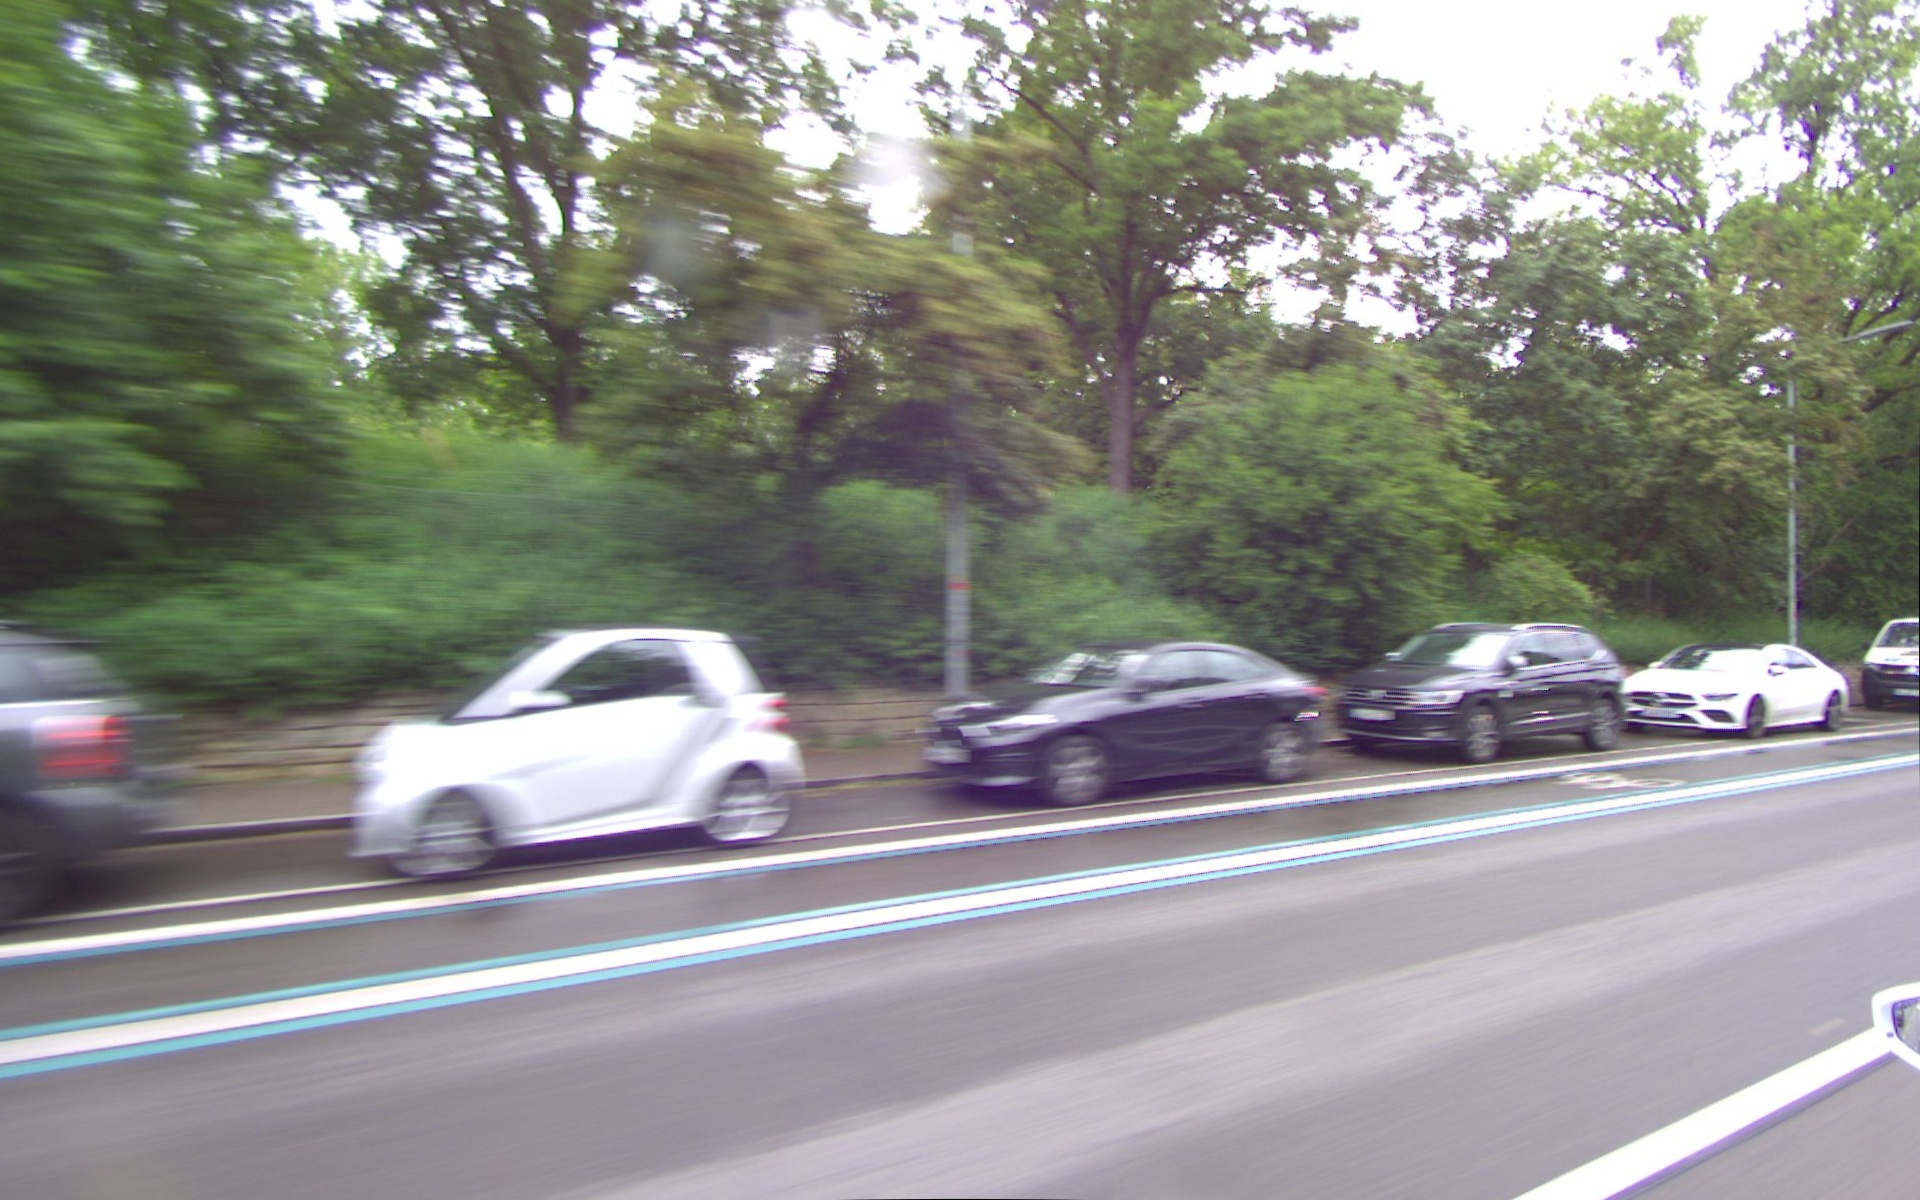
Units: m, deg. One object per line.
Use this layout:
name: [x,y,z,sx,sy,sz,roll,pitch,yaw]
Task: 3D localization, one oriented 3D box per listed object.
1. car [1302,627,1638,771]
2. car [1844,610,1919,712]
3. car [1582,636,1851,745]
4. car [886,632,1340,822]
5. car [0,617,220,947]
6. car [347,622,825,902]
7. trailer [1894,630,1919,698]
car: [6.756,1.171,13.206,4.416,1.582,1.870,1,-1,-30]
car: [21.192,1.272,21.759,4.689,2.040,1.928,1,-1,-33]
car: [12.404,1.373,16.422,4.416,1.508,1.984,1,-1,-30]
car: [1.628,1.100,10.118,4.417,1.508,1.799,1,-1,-31]
car: [-6.361,0.883,4.980,4.087,1.605,1.689,1,-1,-28]
car: [-2.614,0.961,7.151,2.950,1.592,1.453,1,-1,-32]
trailer: [25.312,1.571,24.445,3.599,1.650,1.631,0,-1,1]
